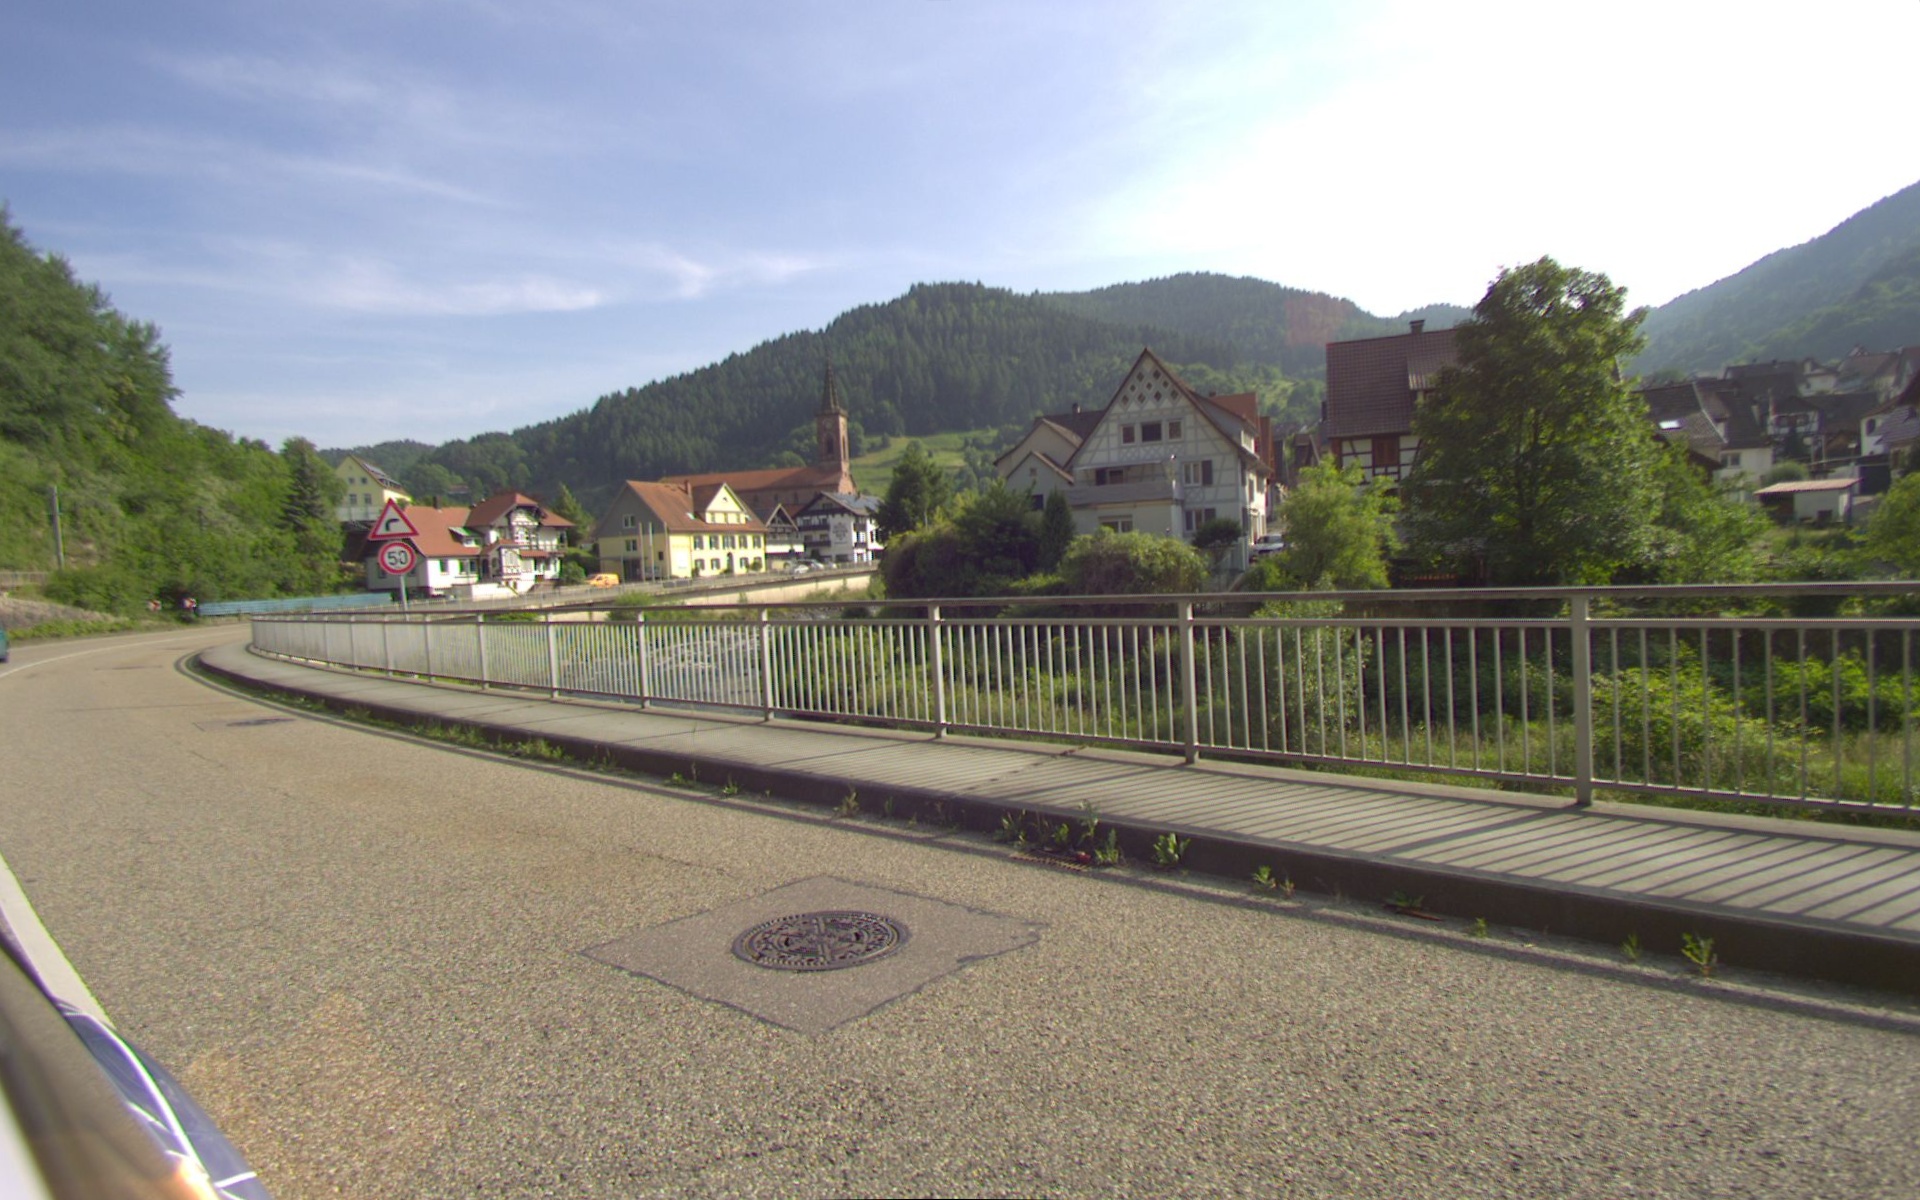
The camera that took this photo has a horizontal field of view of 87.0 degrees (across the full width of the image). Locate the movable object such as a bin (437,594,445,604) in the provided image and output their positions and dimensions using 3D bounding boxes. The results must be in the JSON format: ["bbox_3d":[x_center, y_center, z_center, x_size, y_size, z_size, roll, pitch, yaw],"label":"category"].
[{"bbox_3d":[-49.935,-0.062,97.402,0.365,0.906,0.545,-3,2,12],"label":"movable object such as a bin"}]

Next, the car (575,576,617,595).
[{"bbox_3d":[-42.785,-1.714,119.126,1.902,2.012,4.799,-2,1,22],"label":"car"}]

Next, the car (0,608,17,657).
[{"bbox_3d":[-30.804,1.069,31.174,1.655,1.533,3.878,-3,1,-30],"label":"car"}]
